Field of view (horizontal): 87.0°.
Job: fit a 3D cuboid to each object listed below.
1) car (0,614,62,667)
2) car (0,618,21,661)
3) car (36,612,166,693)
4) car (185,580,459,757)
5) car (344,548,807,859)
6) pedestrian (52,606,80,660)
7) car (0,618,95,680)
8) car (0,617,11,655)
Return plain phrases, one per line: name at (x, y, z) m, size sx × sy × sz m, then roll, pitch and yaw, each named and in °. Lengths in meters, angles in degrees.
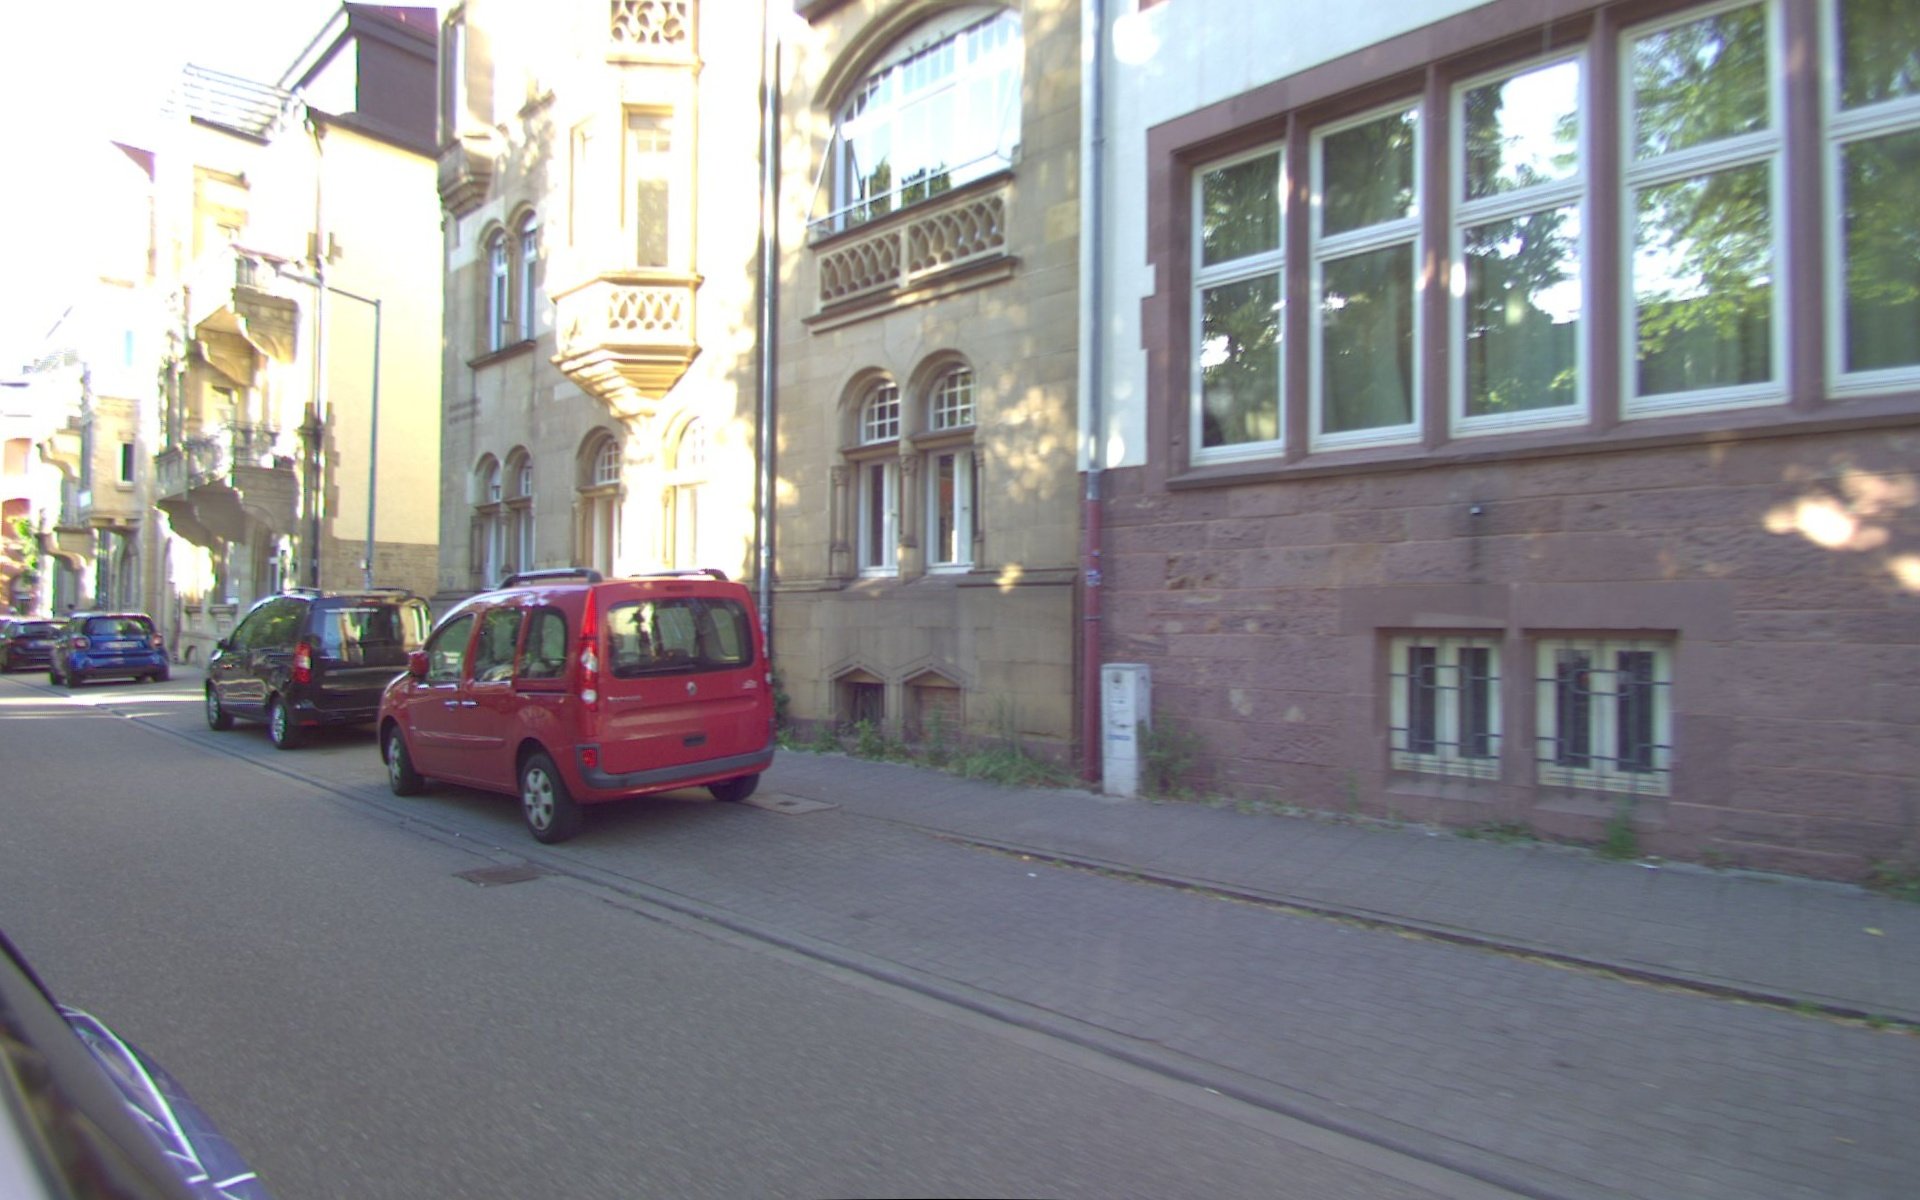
car at (-29.452, 1.243, 31.457) m, size 3.769 × 1.477 × 1.673 m, roll -1°, pitch 2°, yaw 39°
car at (-34.848, 1.404, 36.053) m, size 3.997 × 1.477 × 1.724 m, roll -1°, pitch 0°, yaw 42°
car at (-18.338, 1.068, 21.579) m, size 2.860 × 1.520 × 1.666 m, roll -1°, pitch 1°, yaw 41°
car at (-8.232, 0.766, 12.878) m, size 4.540 × 1.866 × 1.751 m, roll -1°, pitch -1°, yaw 41°
car at (-3.358, 0.662, 8.370) m, size 4.323 × 1.921 × 1.779 m, roll -1°, pitch 0°, yaw 41°
pedestrian at (-31.017, 1.136, 35.121) m, size 0.497 × 1.861 × 0.685 m, roll -1°, pitch -1°, yaw 43°
car at (-25.151, 1.261, 27.460) m, size 4.539 × 1.449 × 1.881 m, roll -1°, pitch 2°, yaw 41°
car at (-39.334, 1.485, 40.130) m, size 4.506 × 1.468 × 1.870 m, roll -1°, pitch 2°, yaw 39°
